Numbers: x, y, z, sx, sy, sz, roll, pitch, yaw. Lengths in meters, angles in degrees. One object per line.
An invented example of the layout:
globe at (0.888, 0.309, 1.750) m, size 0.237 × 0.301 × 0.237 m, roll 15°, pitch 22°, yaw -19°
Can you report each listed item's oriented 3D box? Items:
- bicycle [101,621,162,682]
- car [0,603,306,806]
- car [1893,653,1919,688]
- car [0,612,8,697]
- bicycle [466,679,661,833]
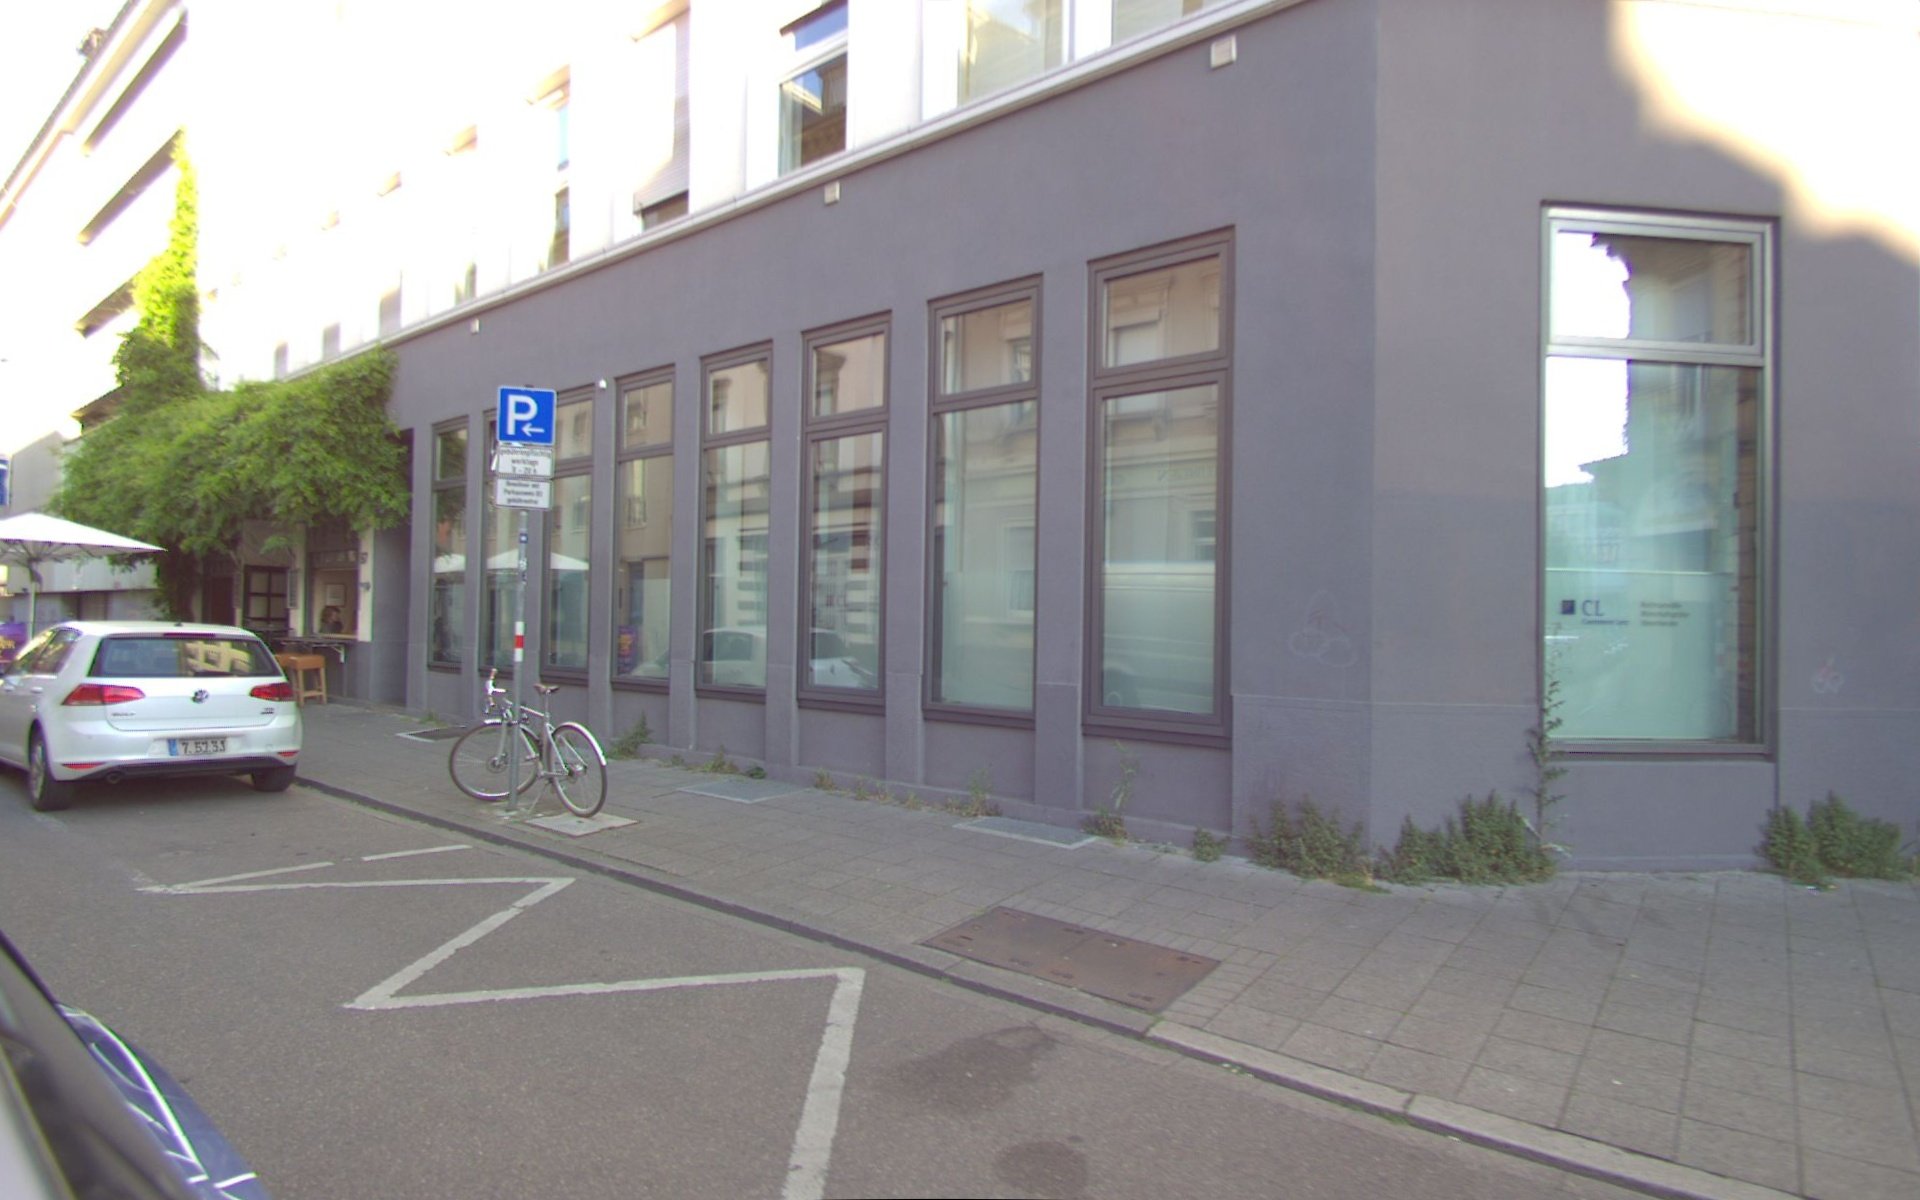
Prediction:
bicycle at (-16.878, 1.024, 20.607) m, size 1.792 × 1.169 × 0.636 m, roll -1°, pitch -1°, yaw 40°
car at (-7.497, 0.762, 8.986) m, size 3.877 × 1.424 × 1.642 m, roll 0°, pitch -2°, yaw 38°
car at (32.810, 2.390, 34.282) m, size 1.513 × 1.067 × 3.421 m, roll 0°, pitch -2°, yaw 39°
car at (-20.360, 0.975, 19.650) m, size 4.762 × 1.580 × 1.864 m, roll 0°, pitch -4°, yaw 37°
bicycle at (-2.909, 1.075, 7.352) m, size 1.642 × 0.912 × 0.590 m, roll -1°, pitch -2°, yaw 40°
